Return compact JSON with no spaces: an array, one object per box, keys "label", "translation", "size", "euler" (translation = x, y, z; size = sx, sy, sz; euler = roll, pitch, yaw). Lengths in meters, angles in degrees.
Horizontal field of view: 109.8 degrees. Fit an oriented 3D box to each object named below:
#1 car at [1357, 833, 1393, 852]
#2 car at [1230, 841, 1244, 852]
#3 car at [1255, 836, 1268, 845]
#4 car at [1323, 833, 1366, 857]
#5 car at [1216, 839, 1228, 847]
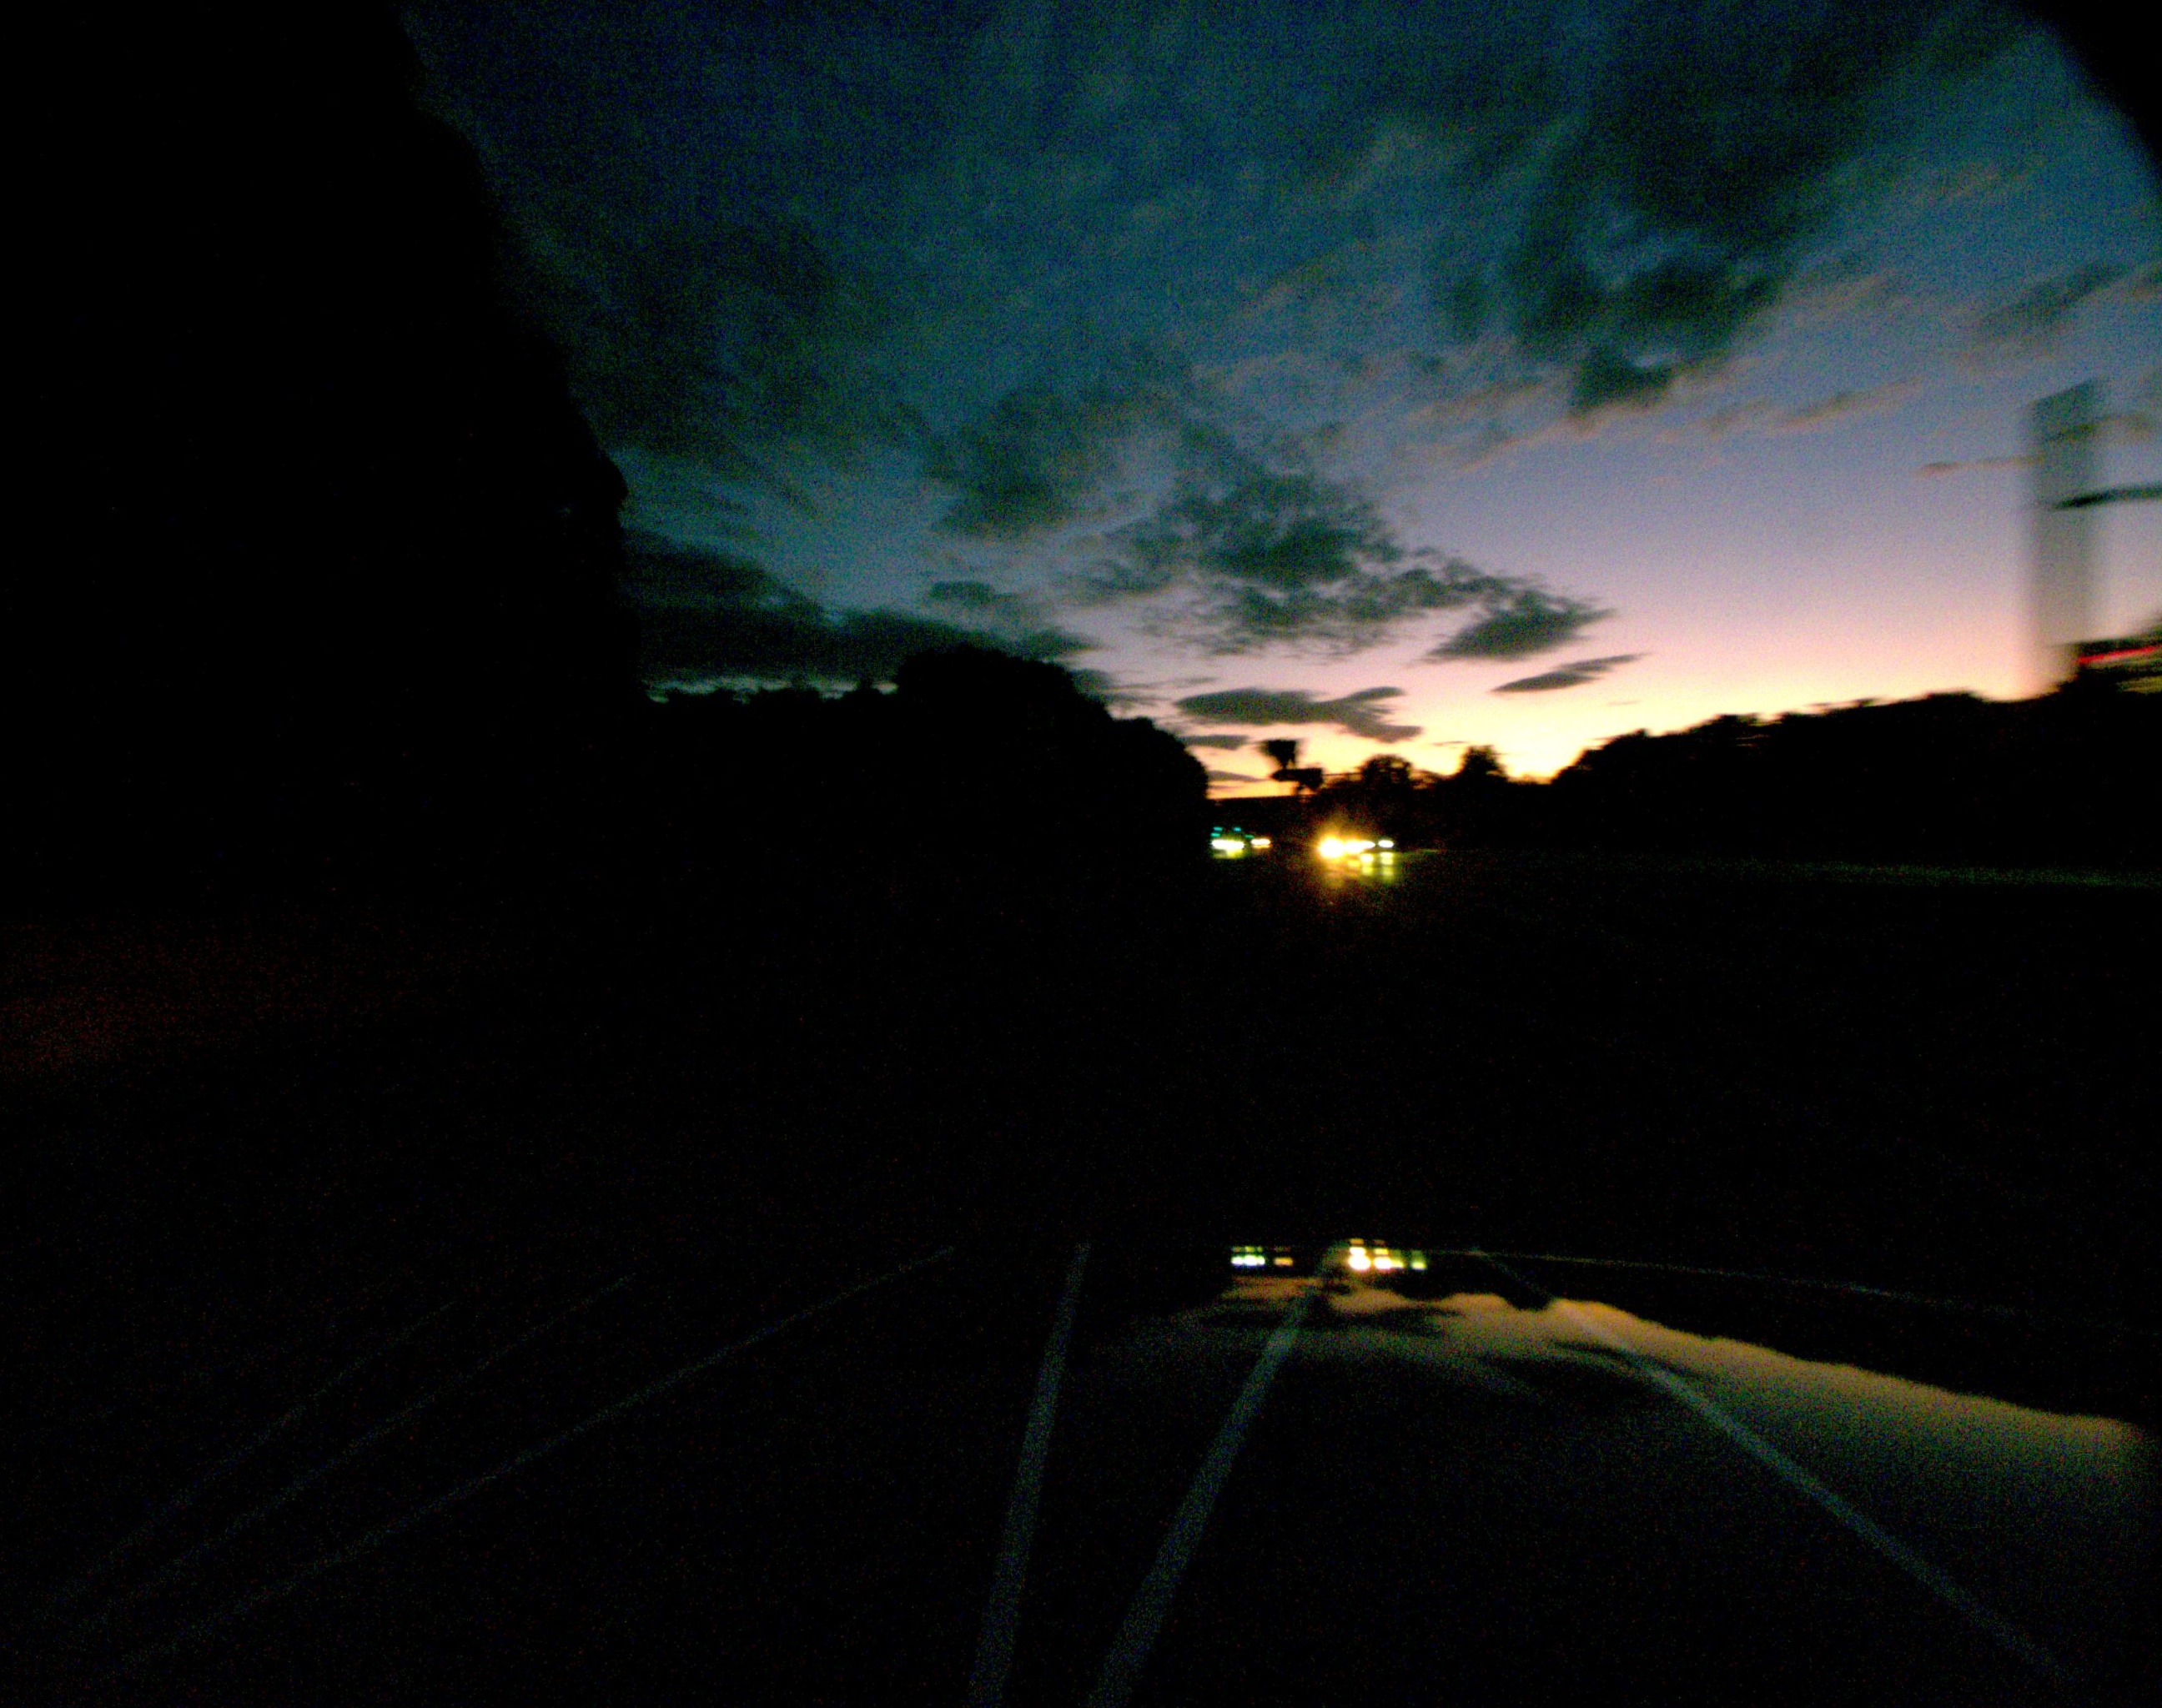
[{"label":"car","translation":[23.440,-0.942,60.680],"size":[1.997,1.445,4.738],"euler":[-2,1,13]},{"label":"car","translation":[26.216,-1.279,127.712],"size":[2.005,1.718,4.004],"euler":[-1,1,17]},{"label":"car","translation":[35.459,-2.700,149.234],"size":[2.055,1.587,4.004],"euler":[-2,1,17]},{"label":"car","translation":[17.040,-0.584,49.293],"size":[1.997,1.445,4.002],"euler":[0,1,9]},{"label":"car","translation":[30.551,-2.346,165.070],"size":[1.998,1.587,4.000],"euler":[-2,1,3]}]
